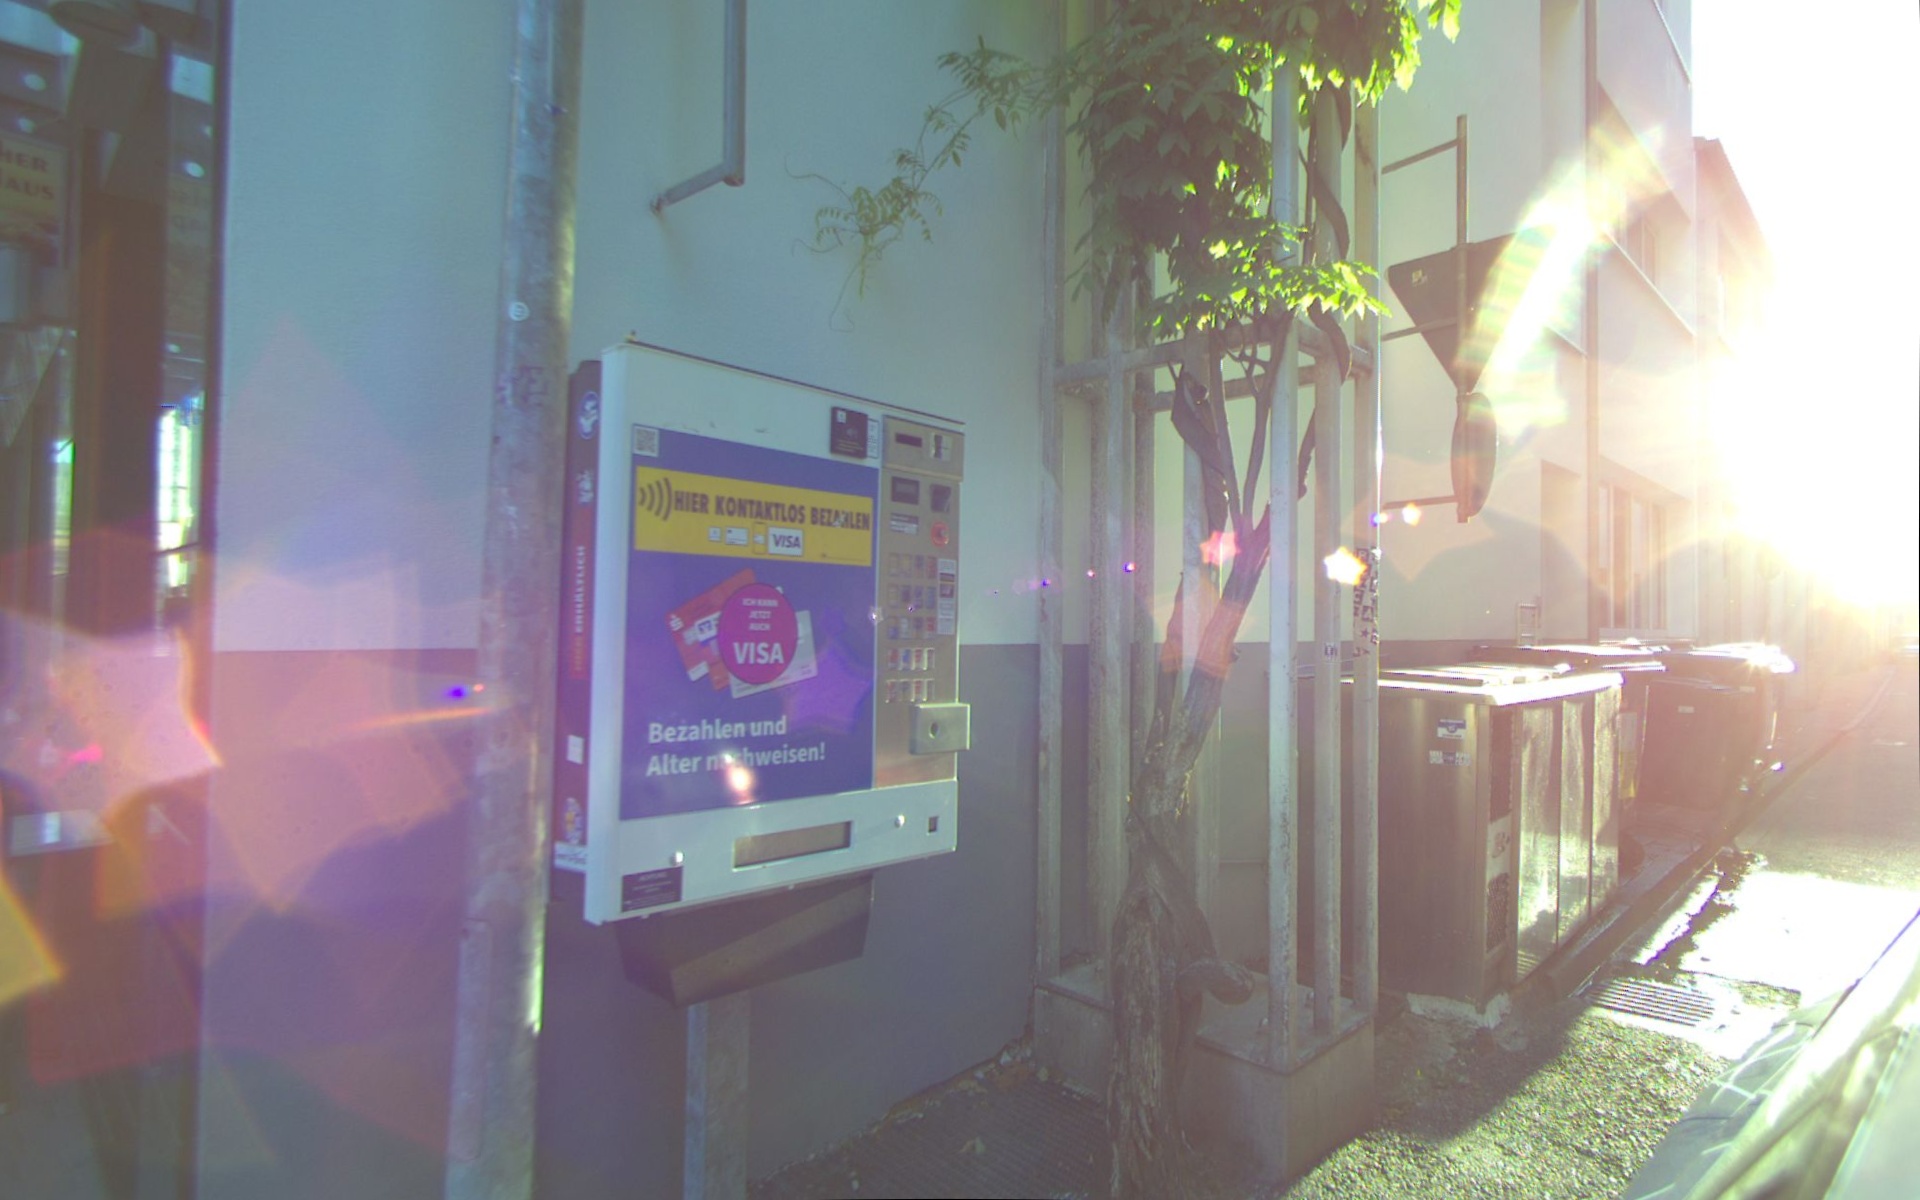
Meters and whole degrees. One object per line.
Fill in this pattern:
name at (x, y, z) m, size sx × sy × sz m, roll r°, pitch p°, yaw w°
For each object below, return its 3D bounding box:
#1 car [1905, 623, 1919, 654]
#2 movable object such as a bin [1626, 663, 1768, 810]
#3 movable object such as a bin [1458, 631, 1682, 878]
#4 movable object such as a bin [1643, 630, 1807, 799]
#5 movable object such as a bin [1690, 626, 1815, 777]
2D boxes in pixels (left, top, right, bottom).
car at (58.067, 2.312, 60.756) m, size 1.759 × 1.790 × 4.673 m, roll -3°, pitch -4°, yaw 44°
movable object such as a bin at (6.299, 1.124, 8.654) m, size 0.869 × 1.088 × 0.726 m, roll 2°, pitch 0°, yaw 44°
movable object such as a bin at (3.844, 0.882, 6.358) m, size 1.267 × 1.321 × 0.837 m, roll 2°, pitch 0°, yaw -42°
movable object such as a bin at (7.180, 1.002, 9.485) m, size 1.064 × 1.384 × 1.321 m, roll 2°, pitch 0°, yaw 43°
movable object such as a bin at (8.172, 0.985, 10.448) m, size 0.936 × 1.384 × 1.323 m, roll 2°, pitch 0°, yaw 39°
